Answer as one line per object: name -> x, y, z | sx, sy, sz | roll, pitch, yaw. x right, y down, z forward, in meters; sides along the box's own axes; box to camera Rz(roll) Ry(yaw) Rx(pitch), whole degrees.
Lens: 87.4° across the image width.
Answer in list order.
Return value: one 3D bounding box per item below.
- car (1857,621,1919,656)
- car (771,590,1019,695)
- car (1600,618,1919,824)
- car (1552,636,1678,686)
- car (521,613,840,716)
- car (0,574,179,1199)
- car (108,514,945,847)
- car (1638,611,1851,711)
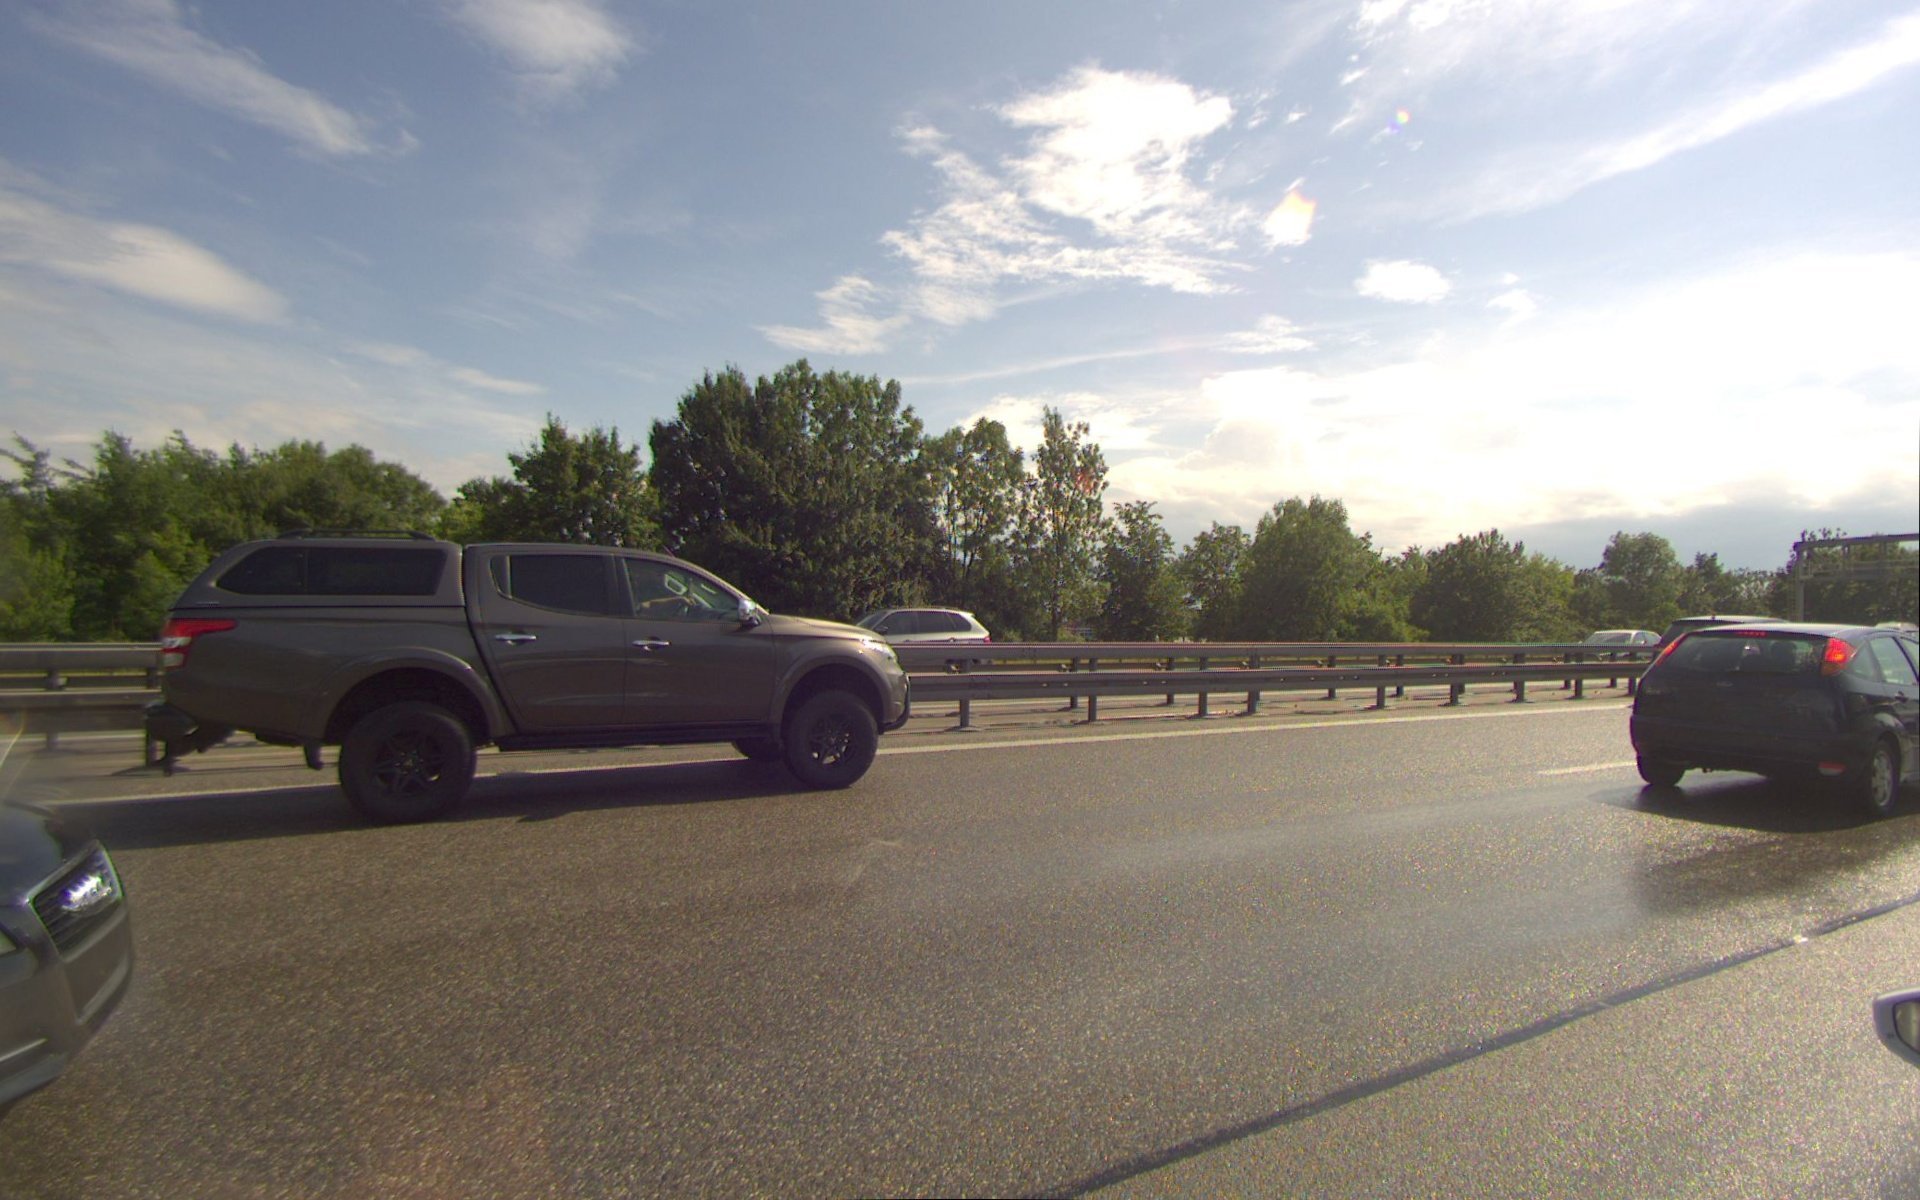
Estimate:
car -> 56.272, 2.309, 60.694 | 4.315, 2.040, 1.982 | 1, 0, -33
car -> -1.333, 0.875, 21.572 | 5.020, 2.040, 1.842 | 2, 0, -31
car -> 7.771, 0.936, 9.064 | 3.953, 1.462, 1.750 | 1, 0, -30
car -> 20.643, 1.899, 31.622 | 3.957, 1.409, 1.851 | 2, 0, -33
car -> -4.279, 0.937, 15.553 | 4.440, 1.372, 1.859 | 1, 0, -30
car -> -4.221, 0.628, 1.950 | 4.005, 1.452, 1.742 | 1, 0, -29
car -> -2.888, 0.500, 7.772 | 5.354, 1.869, 1.798 | 1, 0, -30
car -> 14.159, 1.041, 18.100 | 3.871, 1.599, 1.774 | 1, 0, -31
